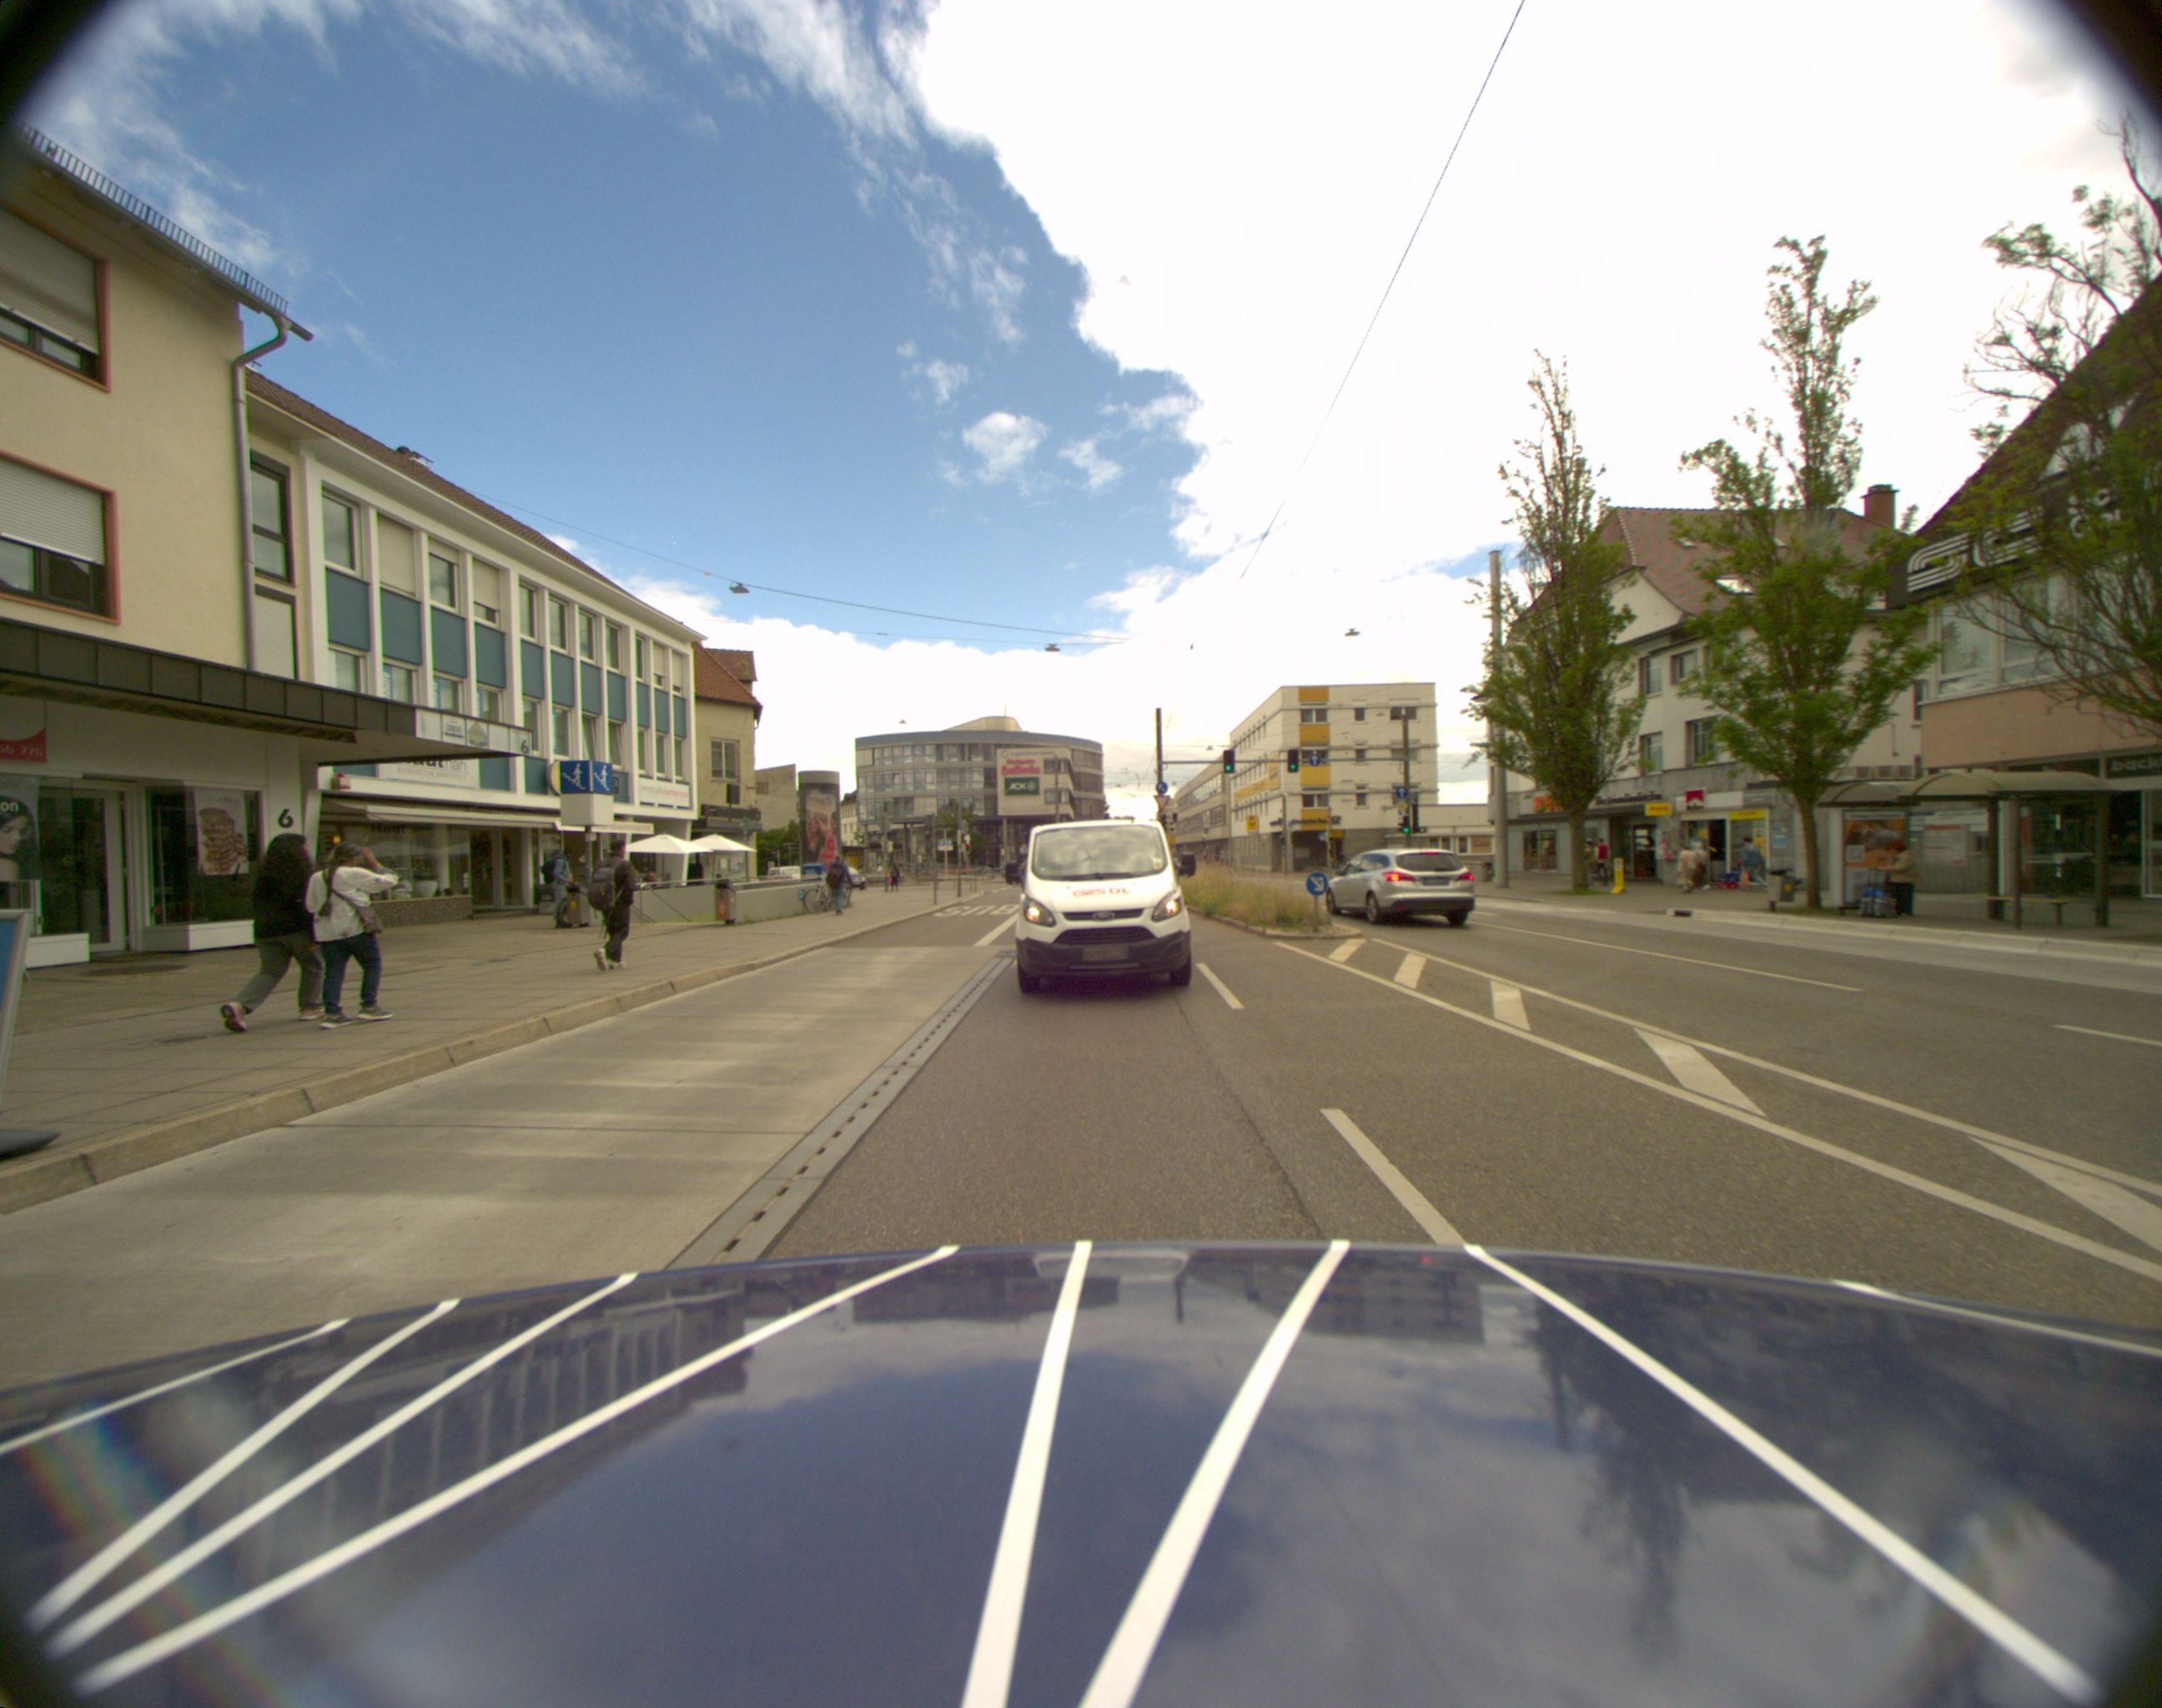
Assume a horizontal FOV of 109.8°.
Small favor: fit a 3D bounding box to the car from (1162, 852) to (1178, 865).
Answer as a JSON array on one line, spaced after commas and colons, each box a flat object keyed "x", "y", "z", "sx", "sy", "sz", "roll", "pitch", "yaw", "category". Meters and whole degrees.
[{"x": 14.799, "y": 0.776, "z": 126.373, "sx": 1.999, "sy": 2.002, "sz": 4.486, "roll": -2, "pitch": 0, "yaw": -1, "category": "car"}]

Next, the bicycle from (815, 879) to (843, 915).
[{"x": -7.187, "y": 1.211, "z": 21.694, "sx": 0.274, "sy": 0.968, "sz": 1.387, "roll": -1, "pitch": 0, "yaw": 3, "category": "bicycle"}]

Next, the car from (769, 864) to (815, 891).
[{"x": -22.023, "y": 1.739, "z": 57.729, "sx": 1.884, "sy": 1.884, "sz": 4.915, "roll": -2, "pitch": 0, "yaw": -37, "category": "car"}]

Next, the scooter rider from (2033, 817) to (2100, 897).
[{"x": 21.867, "y": 0.062, "z": 16.867, "sx": 0.614, "sy": 1.702, "sz": 0.588, "roll": -4, "pitch": 0, "yaw": -2, "category": "scooter rider"}]

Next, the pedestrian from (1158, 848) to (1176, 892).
[{"x": 3.206, "y": 0.591, "z": 28.360, "sx": 0.504, "sy": 1.625, "sz": 0.663, "roll": -1, "pitch": 0, "yaw": -5, "category": "pedestrian"}]

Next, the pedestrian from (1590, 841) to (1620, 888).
[{"x": 19.434, "y": 0.388, "z": 28.185, "sx": 0.587, "sy": 1.702, "sz": 0.615, "roll": -4, "pitch": 0, "yaw": 0, "category": "pedestrian"}]

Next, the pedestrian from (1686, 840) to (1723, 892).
[{"x": 20.078, "y": 0.378, "z": 24.481, "sx": 0.587, "sy": 1.625, "sz": 0.615, "roll": -4, "pitch": 0, "yaw": 0, "category": "pedestrian"}]

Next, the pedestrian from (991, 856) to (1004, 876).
[{"x": -7.144, "y": 1.041, "z": 64.885, "sx": 0.847, "sy": 1.625, "sz": 0.644, "roll": -4, "pitch": 0, "yaw": -32, "category": "pedestrian"}]

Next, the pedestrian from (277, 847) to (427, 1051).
[{"x": -6.059, "y": 0.755, "z": 6.349, "sx": 0.614, "sy": 1.625, "sz": 0.615, "roll": -1, "pitch": 1, "yaw": -1, "category": "pedestrian"}]

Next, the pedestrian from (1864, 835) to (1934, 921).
[{"x": 16.144, "y": 0.469, "z": 15.005, "sx": 0.588, "sy": 1.642, "sz": 0.713, "roll": -2, "pitch": 0, "yaw": -17, "category": "pedestrian"}]

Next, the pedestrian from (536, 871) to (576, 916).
[{"x": -14.623, "y": 1.092, "z": 21.188, "sx": 0.614, "sy": 1.213, "sz": 0.588, "roll": -4, "pitch": 0, "yaw": -1, "category": "pedestrian"}]

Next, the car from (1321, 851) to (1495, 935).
[{"x": 6.510, "y": 0.686, "z": 15.710, "sx": 1.878, "sy": 1.497, "sz": 4.344, "roll": 0, "pitch": 0, "yaw": 2, "category": "car"}]

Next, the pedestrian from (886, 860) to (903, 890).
[{"x": -10.283, "y": 1.166, "z": 41.880, "sx": 0.589, "sy": 1.612, "sz": 0.743, "roll": -4, "pitch": 0, "yaw": -30, "category": "pedestrian"}]

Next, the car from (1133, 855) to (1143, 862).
[{"x": 13.528, "y": 1.003, "z": 179.844, "sx": 2.074, "sy": 1.728, "sz": 4.693, "roll": 1, "pitch": 0, "yaw": 2, "category": "car"}]

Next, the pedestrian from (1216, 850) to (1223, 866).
[{"x": 15.829, "y": 0.509, "z": 87.143, "sx": 0.587, "sy": 1.792, "sz": 0.526, "roll": -4, "pitch": 0, "yaw": 1, "category": "pedestrian"}]

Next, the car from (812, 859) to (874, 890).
[{"x": -15.931, "y": 1.367, "z": 50.770, "sx": 1.884, "sy": 1.884, "sz": 4.914, "roll": -2, "pitch": 1, "yaw": -44, "category": "car"}]

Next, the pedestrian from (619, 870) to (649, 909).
[{"x": -14.142, "y": 1.124, "z": 24.042, "sx": 0.614, "sy": 1.213, "sz": 0.588, "roll": 0, "pitch": 0, "yaw": -1, "category": "pedestrian"}]

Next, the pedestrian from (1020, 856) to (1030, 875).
[{"x": -4.864, "y": 0.991, "z": 66.192, "sx": 0.589, "sy": 1.625, "sz": 0.525, "roll": -4, "pitch": 0, "yaw": -44, "category": "pedestrian"}]

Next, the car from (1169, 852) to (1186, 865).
[{"x": 15.168, "y": 0.754, "z": 120.173, "sx": 1.999, "sy": 2.002, "sz": 4.486, "roll": -2, "pitch": 0, "yaw": -1, "category": "car"}]

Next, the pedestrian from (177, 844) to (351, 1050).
[{"x": -6.748, "y": 0.735, "z": 6.311, "sx": 0.720, "sy": 1.625, "sz": 0.615, "roll": -1, "pitch": 1, "yaw": -1, "category": "pedestrian"}]

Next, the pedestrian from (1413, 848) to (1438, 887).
[{"x": 15.040, "y": 0.588, "z": 33.179, "sx": 0.702, "sy": 1.625, "sz": 0.614, "roll": -4, "pitch": 0, "yaw": -9, "category": "pedestrian"}]

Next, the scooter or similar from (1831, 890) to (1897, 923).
[{"x": 15.538, "y": 1.038, "z": 15.096, "sx": 0.593, "sy": 0.598, "sz": 0.702, "roll": -1, "pitch": 0, "yaw": 1, "category": "scooter or similar"}]

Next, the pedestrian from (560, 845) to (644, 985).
[{"x": -5.928, "y": 0.737, "z": 9.427, "sx": 0.613, "sy": 1.668, "sz": 0.615, "roll": -1, "pitch": 0, "yaw": 4, "category": "pedestrian"}]

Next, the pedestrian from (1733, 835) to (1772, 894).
[{"x": 19.682, "y": 0.301, "z": 22.273, "sx": 0.587, "sy": 1.702, "sz": 0.615, "roll": -1, "pitch": 2, "yaw": 0, "category": "pedestrian"}]

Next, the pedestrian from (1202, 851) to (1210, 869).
[{"x": 13.110, "y": 0.617, "z": 79.822, "sx": 0.587, "sy": 1.792, "sz": 0.526, "roll": -4, "pitch": 0, "yaw": 1, "category": "pedestrian"}]

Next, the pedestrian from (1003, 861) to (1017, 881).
[{"x": -5.936, "y": 1.408, "z": 63.704, "sx": 0.808, "sy": 1.637, "sz": 0.886, "roll": -2, "pitch": 0, "yaw": -33, "category": "pedestrian"}]

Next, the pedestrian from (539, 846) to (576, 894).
[{"x": -16.378, "y": 0.507, "z": 23.782, "sx": 0.614, "sy": 1.452, "sz": 0.588, "roll": -4, "pitch": 0, "yaw": 1, "category": "pedestrian"}]

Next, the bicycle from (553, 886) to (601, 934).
[{"x": -11.284, "y": 1.239, "z": 17.050, "sx": 0.274, "sy": 0.968, "sz": 1.386, "roll": -1, "pitch": 0, "yaw": -6, "category": "bicycle"}]

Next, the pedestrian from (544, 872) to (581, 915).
[{"x": -14.933, "y": 1.127, "z": 21.900, "sx": 0.614, "sy": 1.213, "sz": 0.588, "roll": -2, "pitch": 0, "yaw": -1, "category": "pedestrian"}]

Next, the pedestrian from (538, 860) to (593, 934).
[{"x": -11.643, "y": 0.957, "z": 17.178, "sx": 0.668, "sy": 1.625, "sz": 0.800, "roll": -1, "pitch": 0, "yaw": -1, "category": "pedestrian"}]

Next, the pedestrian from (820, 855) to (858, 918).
[{"x": -6.478, "y": 0.851, "z": 20.355, "sx": 0.689, "sy": 1.625, "sz": 0.853, "roll": -1, "pitch": 0, "yaw": 1, "category": "pedestrian"}]

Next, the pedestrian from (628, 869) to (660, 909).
[{"x": -14.176, "y": 1.127, "z": 24.673, "sx": 0.614, "sy": 1.213, "sz": 0.588, "roll": -4, "pitch": 0, "yaw": -1, "category": "pedestrian"}]

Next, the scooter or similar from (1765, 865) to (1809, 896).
[{"x": 20.114, "y": 0.752, "z": 21.660, "sx": 0.593, "sy": 0.843, "sz": 0.702, "roll": -1, "pitch": 0, "yaw": 1, "category": "scooter or similar"}]

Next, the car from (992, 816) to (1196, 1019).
[{"x": 0.330, "y": 0.659, "z": 10.188, "sx": 1.998, "sy": 2.002, "sz": 5.001, "roll": -2, "pitch": 0, "yaw": 5, "category": "car"}]

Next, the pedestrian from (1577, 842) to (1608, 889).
[{"x": 18.603, "y": 0.418, "z": 27.622, "sx": 0.587, "sy": 1.625, "sz": 0.615, "roll": -4, "pitch": 0, "yaw": 0, "category": "pedestrian"}]

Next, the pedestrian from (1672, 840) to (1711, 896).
[{"x": 18.488, "y": 0.426, "z": 23.019, "sx": 0.587, "sy": 1.625, "sz": 0.615, "roll": -4, "pitch": 0, "yaw": 0, "category": "pedestrian"}]

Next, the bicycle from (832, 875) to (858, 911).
[{"x": -7.196, "y": 1.173, "z": 23.188, "sx": 0.274, "sy": 1.047, "sz": 1.387, "roll": -1, "pitch": 0, "yaw": 3, "category": "bicycle"}]

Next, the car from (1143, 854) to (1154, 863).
[{"x": 13.841, "y": 0.945, "z": 156.937, "sx": 2.074, "sy": 1.728, "sz": 4.693, "roll": 1, "pitch": 0, "yaw": 2, "category": "car"}]
